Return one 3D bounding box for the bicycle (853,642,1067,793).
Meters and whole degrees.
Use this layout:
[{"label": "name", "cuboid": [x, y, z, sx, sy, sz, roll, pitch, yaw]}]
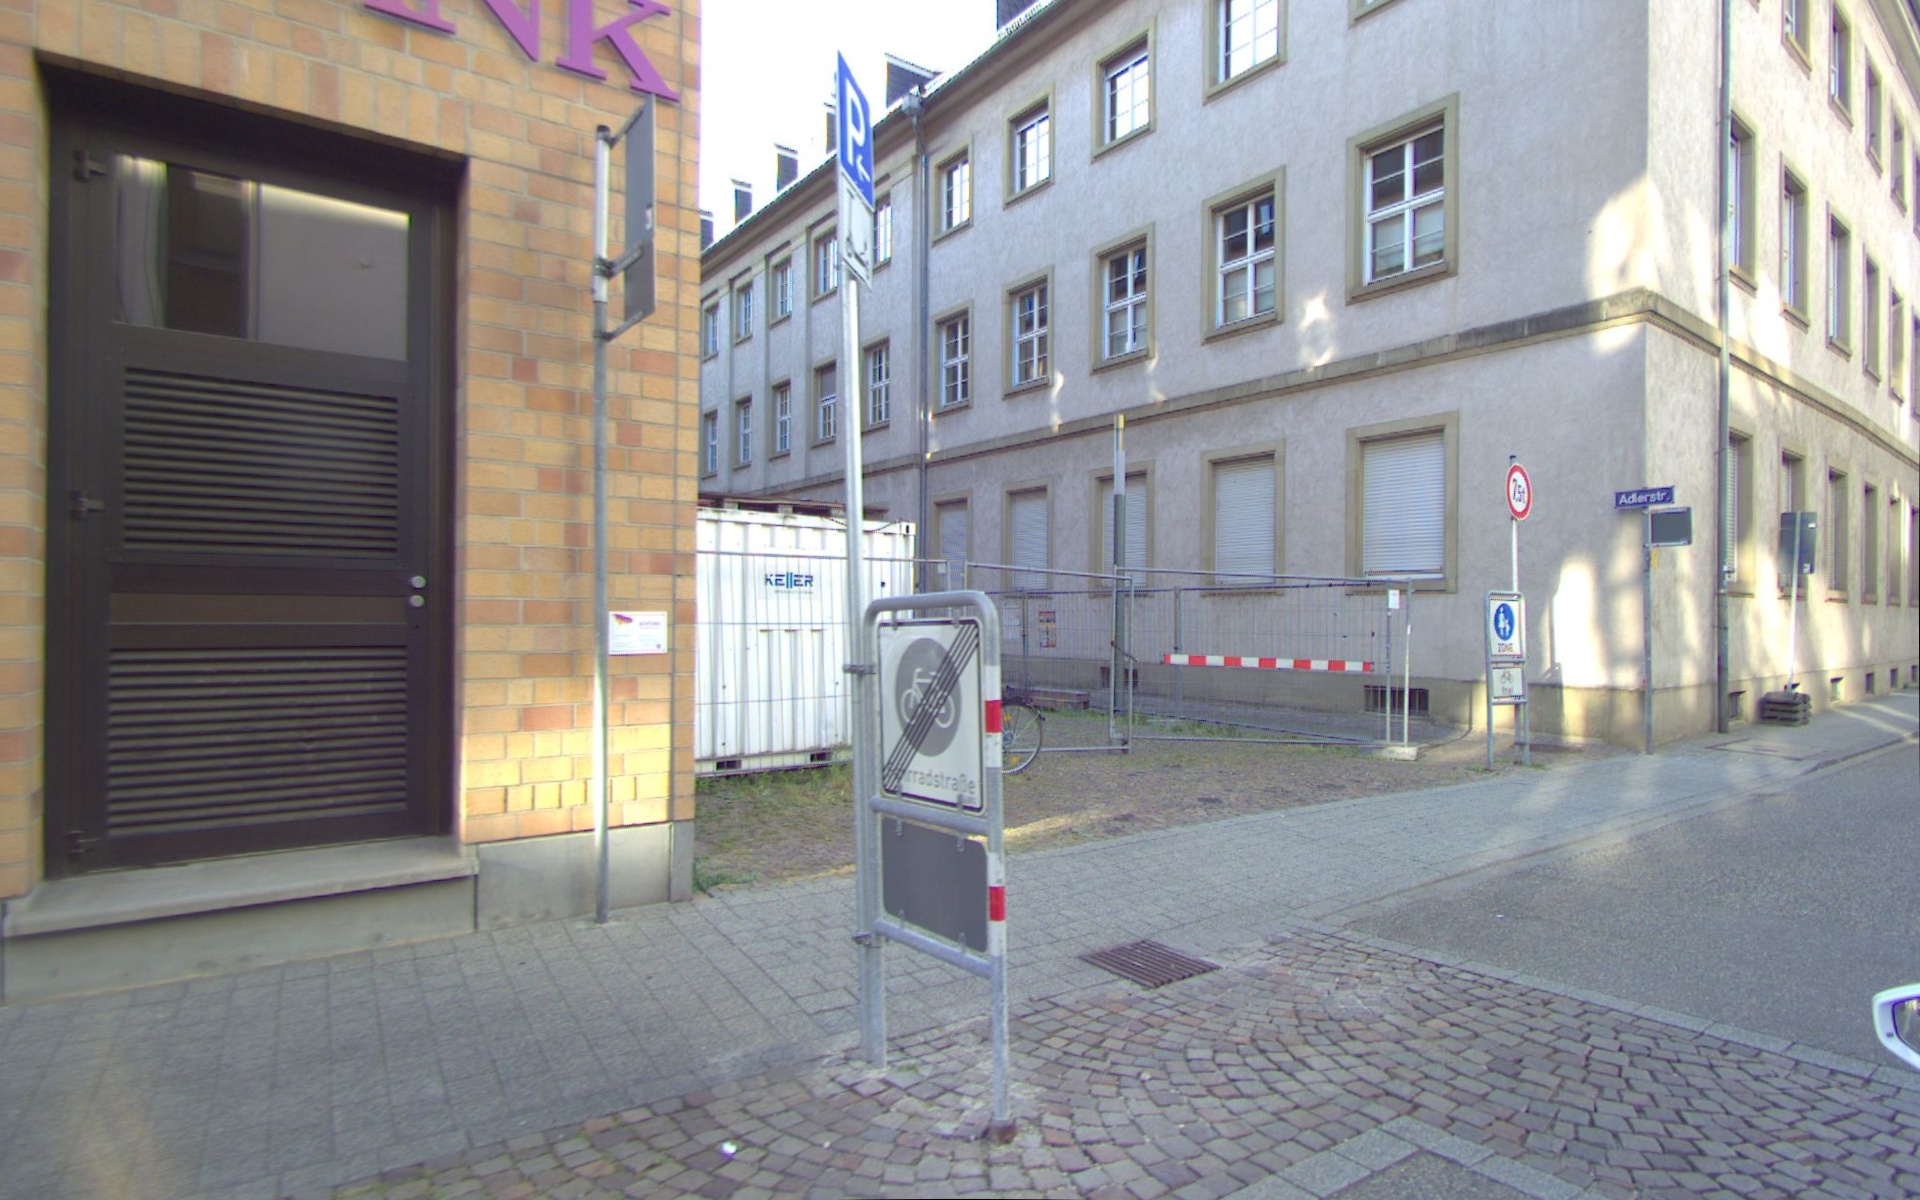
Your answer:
[{"label": "bicycle", "cuboid": [-0.015, 1.004, 8.993, 1.745, 1.217, 0.808, 1, 1, -17]}]
